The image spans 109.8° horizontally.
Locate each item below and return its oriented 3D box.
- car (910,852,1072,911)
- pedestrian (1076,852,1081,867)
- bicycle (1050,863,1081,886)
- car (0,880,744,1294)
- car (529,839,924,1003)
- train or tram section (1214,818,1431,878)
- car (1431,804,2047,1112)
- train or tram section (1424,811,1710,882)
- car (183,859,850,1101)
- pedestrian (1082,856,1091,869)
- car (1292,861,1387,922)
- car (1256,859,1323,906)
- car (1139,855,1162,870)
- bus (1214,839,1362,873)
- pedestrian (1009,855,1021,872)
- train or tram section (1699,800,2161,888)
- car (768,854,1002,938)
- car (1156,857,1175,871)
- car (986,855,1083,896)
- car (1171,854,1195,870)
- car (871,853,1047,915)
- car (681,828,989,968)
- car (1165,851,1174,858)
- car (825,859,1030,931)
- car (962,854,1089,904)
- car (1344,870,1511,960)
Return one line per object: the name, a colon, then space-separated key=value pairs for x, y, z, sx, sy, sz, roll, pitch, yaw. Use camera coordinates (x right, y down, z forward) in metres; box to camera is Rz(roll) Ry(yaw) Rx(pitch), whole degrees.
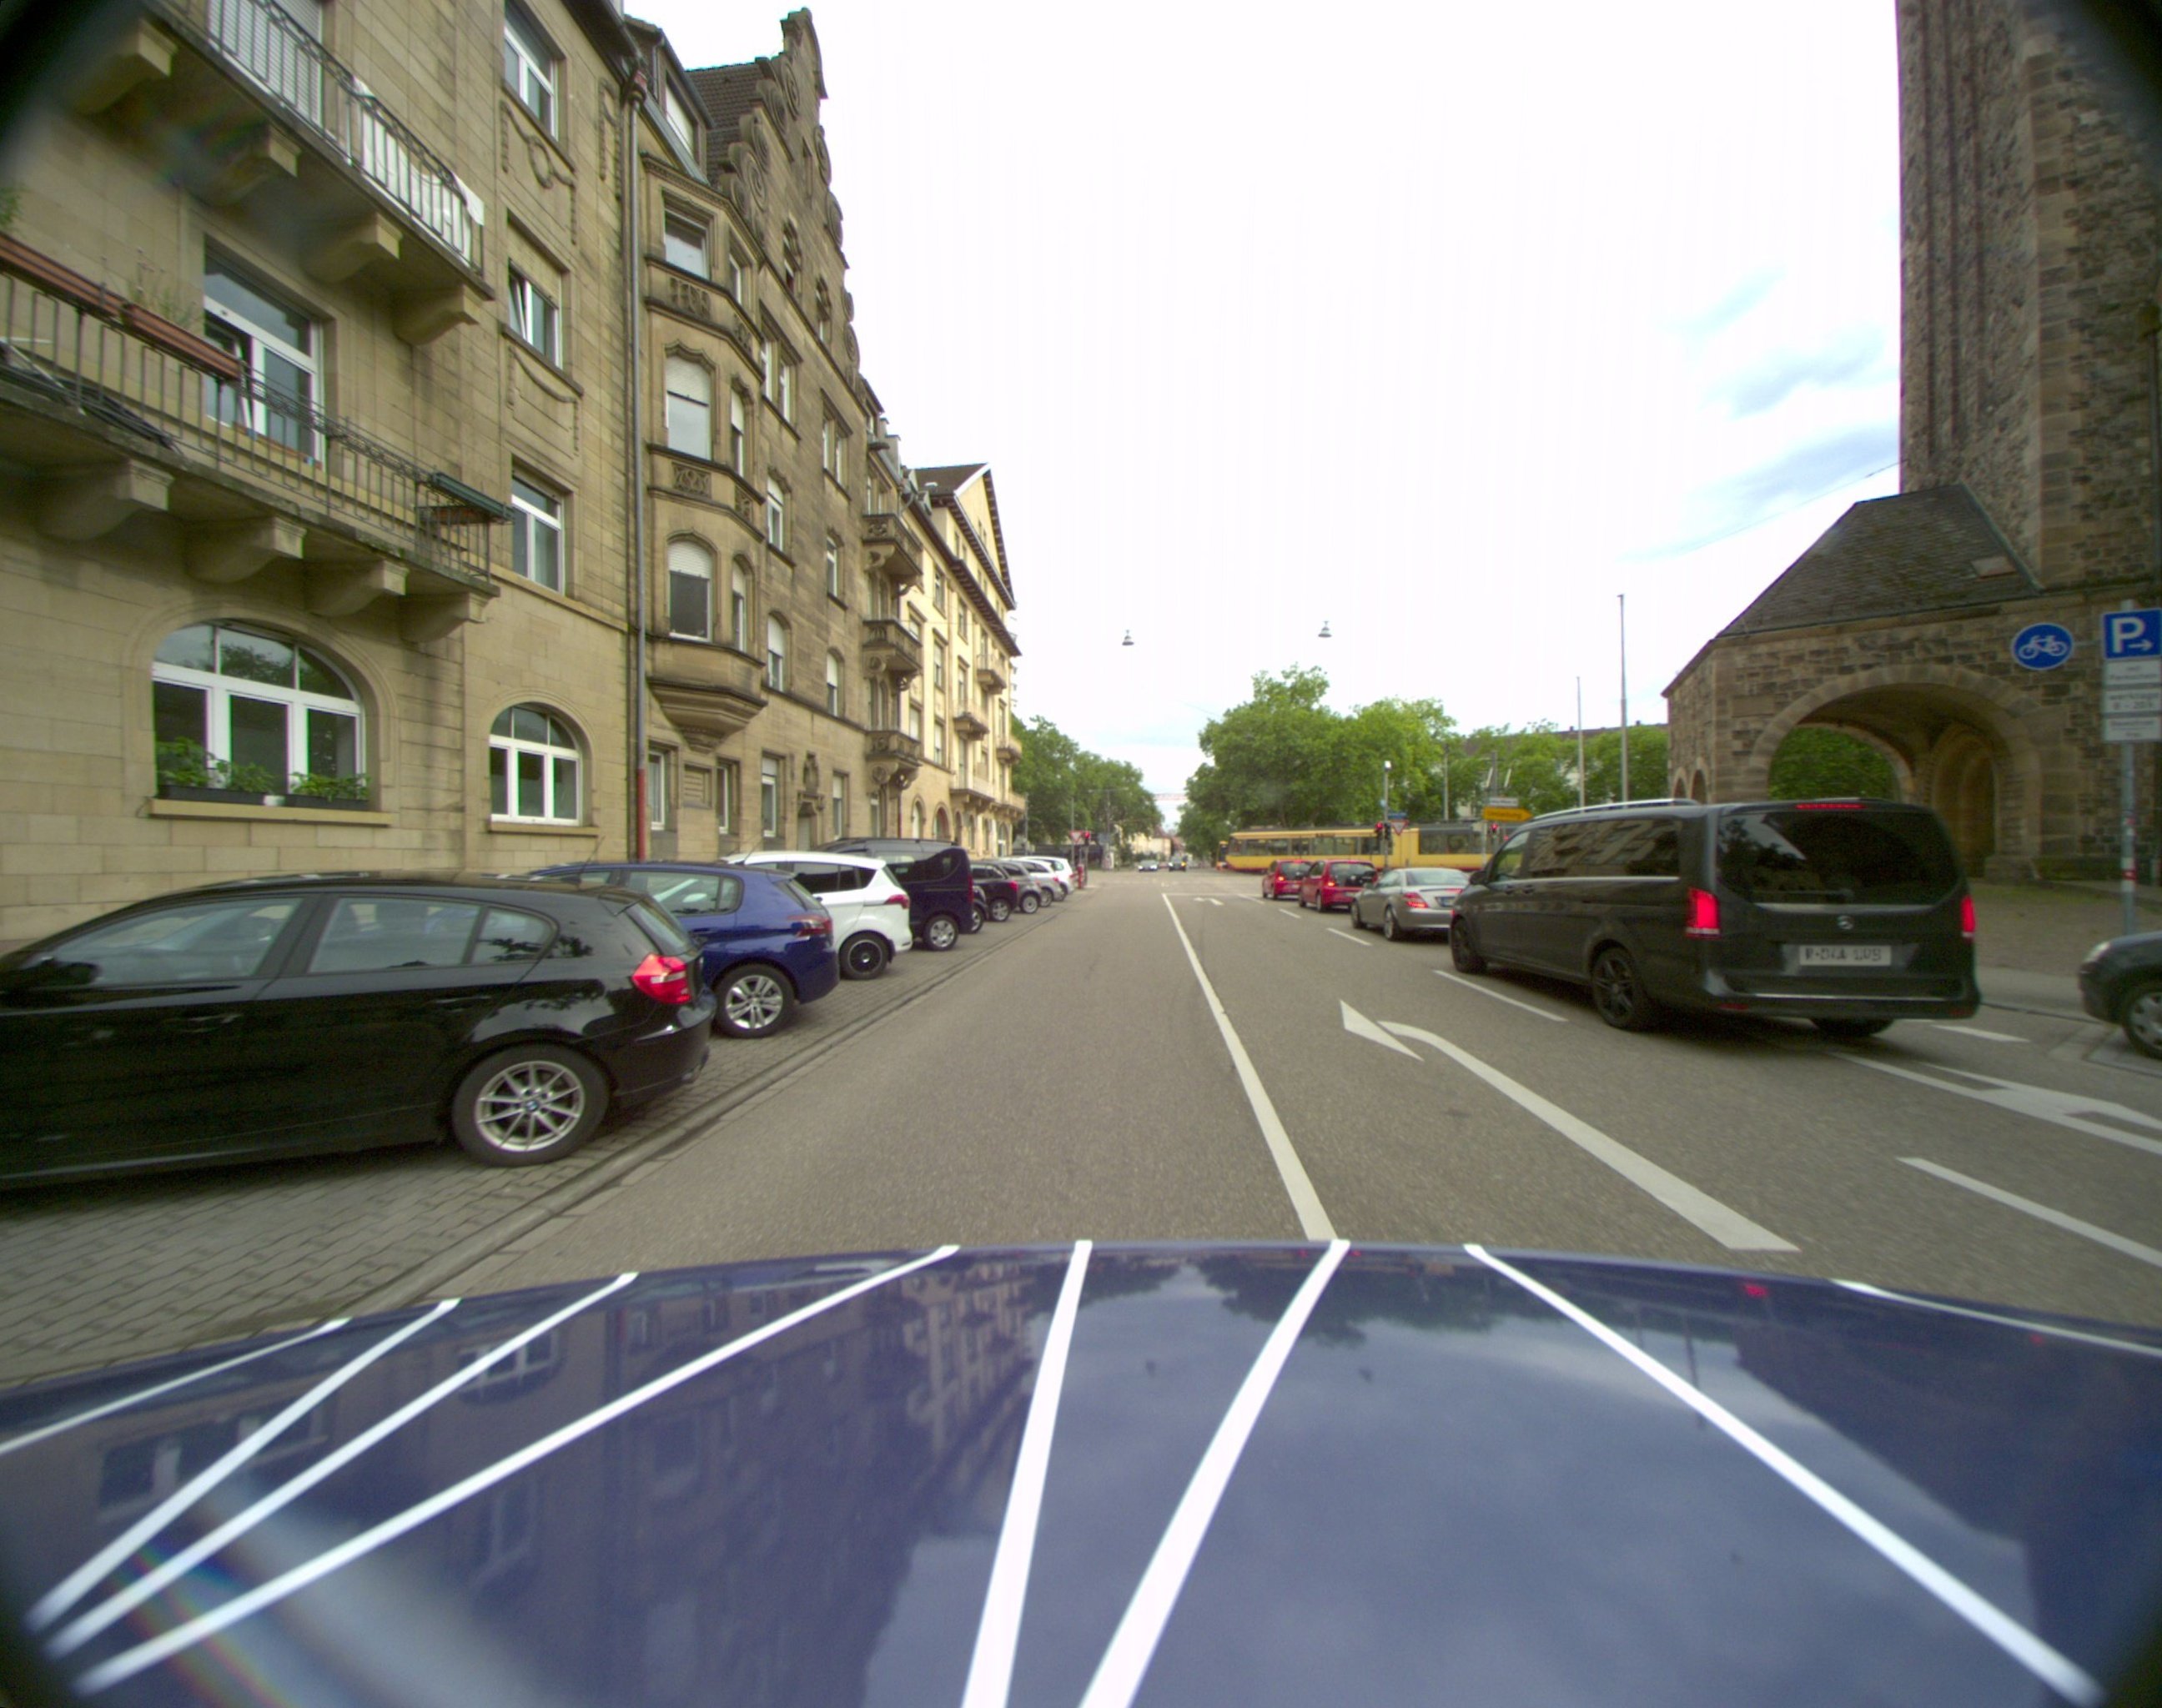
car: x=-2.879 y=0.889 z=24.515 sx=4.761 sy=1.675 sz=1.931 roll=2 pitch=1 yaw=-31
pedestrian: x=-0.320 y=0.622 z=84.090 sx=0.524 sy=1.603 sz=0.527 roll=-1 pitch=2 yaw=-2
bicycle: x=-0.838 y=1.111 z=40.423 sx=1.570 sy=1.121 sz=0.476 roll=3 pitch=2 yaw=5
car: x=-4.096 y=0.939 z=3.785 sx=4.268 sy=1.469 sz=1.681 roll=3 pitch=-1 yaw=-27
car: x=-4.187 y=0.749 z=9.267 sx=4.009 sy=1.592 sz=1.761 roll=4 pitch=-1 yaw=-34
train or tram section: x=17.726 y=-0.448 z=56.883 sx=14.996 sy=4.070 sz=3.661 roll=0 pitch=2 yaw=31
car: x=5.406 y=0.683 z=7.515 sx=1.916 sy=1.943 sz=5.286 roll=0 pitch=0 yaw=6
train or tram section: x=30.577 y=-0.478 z=49.020 sx=14.996 sy=4.070 sz=3.588 roll=0 pitch=2 yaw=31
car: x=-4.210 y=0.911 z=6.515 sx=4.006 sy=1.524 sz=1.928 roll=3 pitch=-1 yaw=-24
pedestrian: x=0.655 y=0.959 z=86.810 sx=0.852 sy=1.500 sz=0.555 roll=0 pitch=2 yaw=19
car: x=7.162 y=0.992 z=21.382 sx=1.605 sy=1.448 sz=3.719 roll=2 pitch=1 yaw=5
car: x=7.438 y=0.991 z=27.468 sx=1.652 sy=1.519 sz=3.896 roll=2 pitch=-1 yaw=6
car: x=8.449 y=1.005 z=91.905 sx=1.660 sy=1.708 sz=3.747 roll=0 pitch=-2 yaw=24
bus: x=18.366 y=0.147 z=67.954 sx=12.345 sy=2.840 sz=3.298 roll=0 pitch=1 yaw=31
pedestrian: x=-6.485 y=0.920 z=75.005 sx=0.876 sy=1.686 sz=0.744 roll=0 pitch=2 yaw=31
train or tram section: x=45.536 y=-0.505 z=39.941 sx=19.892 sy=4.070 sz=3.634 roll=0 pitch=2 yaw=31
car: x=-3.935 y=0.862 z=15.425 sx=4.079 sy=1.445 sz=2.026 roll=4 pitch=0 yaw=-33
car: x=11.070 y=1.333 z=99.197 sx=1.660 sy=1.708 sz=3.746 roll=0 pitch=-2 yaw=20
car: x=-1.997 y=0.967 z=33.345 sx=3.843 sy=1.552 sz=1.789 roll=4 pitch=1 yaw=-41
car: x=12.097 y=0.936 z=89.926 sx=1.908 sy=1.708 sz=3.747 roll=0 pitch=-2 yaw=24
car: x=-3.351 y=0.853 z=21.225 sx=4.474 sy=1.564 sz=1.742 roll=3 pitch=-1 yaw=-33
car: x=-3.876 y=0.688 z=12.277 sx=4.292 sy=1.895 sz=1.874 roll=3 pitch=-1 yaw=-36
car: x=27.077 y=0.165 z=232.261 sx=1.995 sy=2.002 sz=4.005 roll=0 pitch=1 yaw=21
car: x=-3.644 y=0.928 z=18.366 sx=4.474 sy=1.543 sz=1.847 roll=1 pitch=0 yaw=-33
car: x=-2.023 y=0.911 z=27.974 sx=4.232 sy=1.673 sz=1.911 roll=1 pitch=1 yaw=-29
car: x=6.293 y=1.020 z=14.319 sx=1.708 sy=1.279 sz=4.044 roll=2 pitch=1 yaw=7
